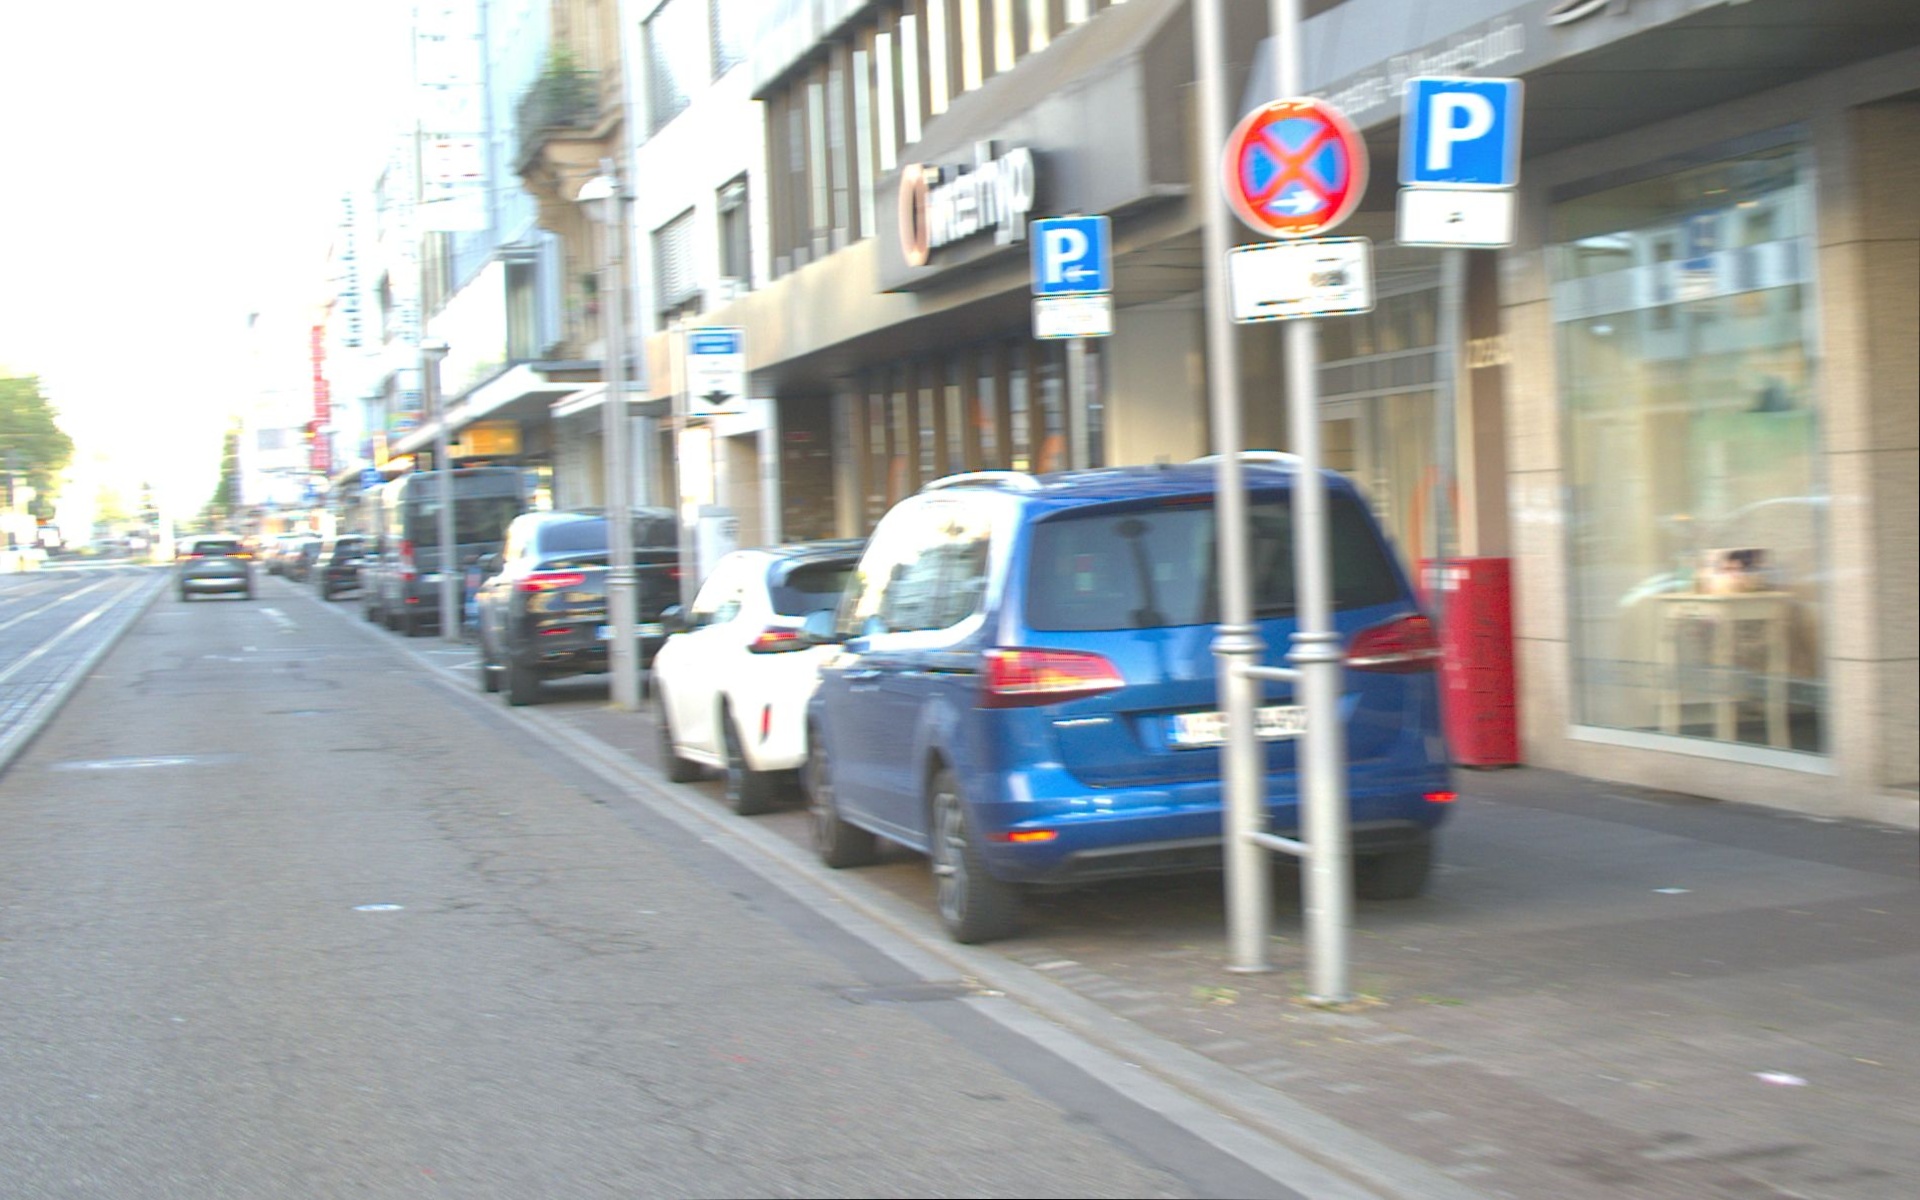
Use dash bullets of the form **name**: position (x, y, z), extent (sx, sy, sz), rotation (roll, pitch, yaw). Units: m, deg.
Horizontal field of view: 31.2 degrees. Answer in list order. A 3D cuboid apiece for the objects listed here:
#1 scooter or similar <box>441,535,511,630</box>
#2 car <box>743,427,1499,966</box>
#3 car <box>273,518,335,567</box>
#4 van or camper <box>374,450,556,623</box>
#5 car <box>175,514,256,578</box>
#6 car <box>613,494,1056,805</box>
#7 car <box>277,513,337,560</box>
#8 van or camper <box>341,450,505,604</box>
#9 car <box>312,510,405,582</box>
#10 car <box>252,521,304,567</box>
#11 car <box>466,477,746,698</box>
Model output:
- **scooter or similar**: position (-6.587, -0.244, 46.810), extent (0.354, 1.219, 1.114), rotation (-4, 2, 20)
- **car**: position (0.442, 0.277, 14.209), extent (1.914, 1.711, 4.565), rotation (-5, 2, -12)
- **car**: position (-22.940, -2.026, 120.184), extent (1.943, 1.539, 4.546), rotation (-5, 2, -12)
- **van or camper**: position (-7.923, -1.008, 54.511), extent (2.188, 2.418, 6.134), rotation (-5, 2, -13)
- **car**: position (-19.139, -1.411, 88.485), extent (1.943, 1.539, 4.546), rotation (-2, 2, -12)
- **car**: position (-0.837, 0.216, 19.967), extent (1.765, 1.480, 3.873), rotation (-5, 2, -13)
- **car**: position (-23.906, -2.330, 125.757), extent (1.943, 1.539, 4.546), rotation (-5, 2, -12)
- **van or camper**: position (-9.530, -1.289, 60.660), extent (2.188, 2.418, 5.519), rotation (-5, 2, -14)
- **car**: position (-14.514, -1.315, 82.763), extent (1.943, 1.539, 4.546), rotation (-5, 2, -12)
- **car**: position (-28.018, -2.318, 141.103), extent (1.943, 1.697, 4.546), rotation (-5, 2, -12)
- **car**: position (-3.358, -0.161, 31.830), extent (1.984, 1.728, 4.672), rotation (-5, 2, -12)
